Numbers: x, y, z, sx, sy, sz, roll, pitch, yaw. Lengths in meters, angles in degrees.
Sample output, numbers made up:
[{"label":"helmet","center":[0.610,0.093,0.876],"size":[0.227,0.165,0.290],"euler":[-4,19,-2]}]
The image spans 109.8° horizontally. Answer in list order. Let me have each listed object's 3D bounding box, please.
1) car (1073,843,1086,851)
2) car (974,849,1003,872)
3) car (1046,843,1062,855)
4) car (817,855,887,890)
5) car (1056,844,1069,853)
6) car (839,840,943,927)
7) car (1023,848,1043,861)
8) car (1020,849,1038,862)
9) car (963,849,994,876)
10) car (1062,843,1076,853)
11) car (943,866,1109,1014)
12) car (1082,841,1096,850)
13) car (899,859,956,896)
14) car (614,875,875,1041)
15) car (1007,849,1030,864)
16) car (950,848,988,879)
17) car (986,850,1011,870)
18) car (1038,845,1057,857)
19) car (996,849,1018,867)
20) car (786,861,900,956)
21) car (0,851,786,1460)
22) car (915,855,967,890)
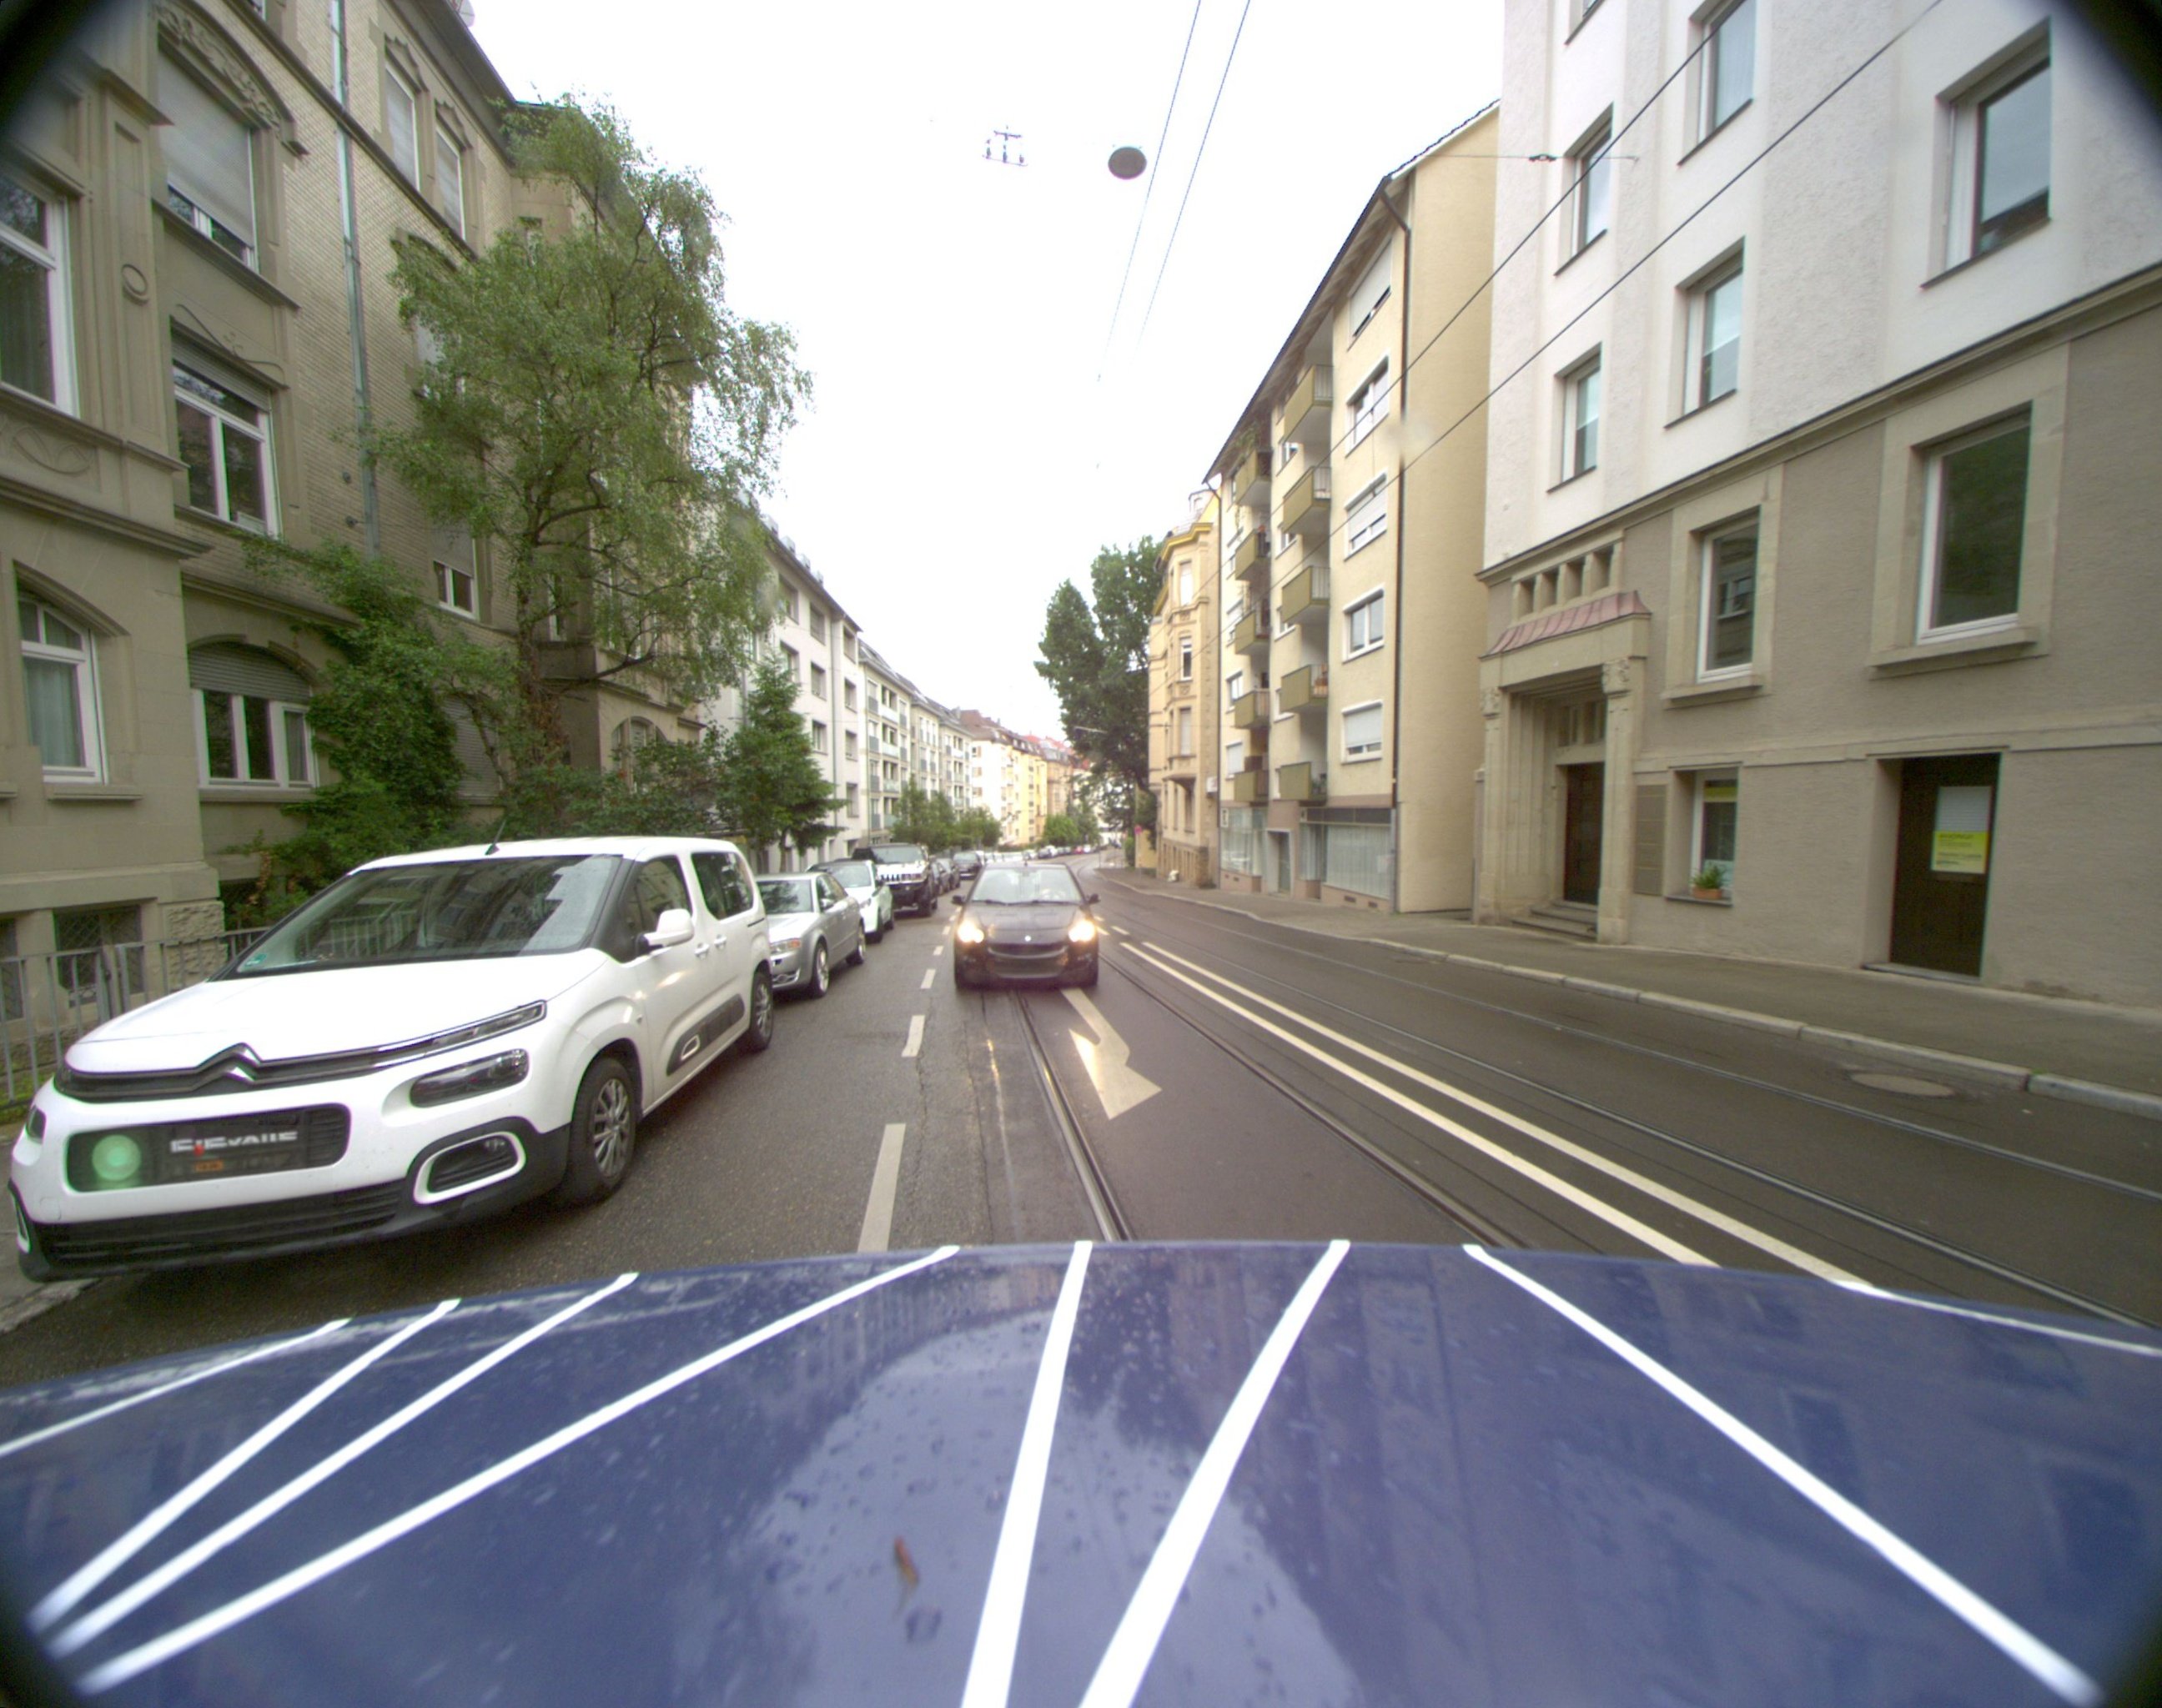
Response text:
[{"label":"car","center":[-0.241,-1.221,131.054],"size":[1.556,1.360,3.126],"euler":[-1,2,13]},{"label":"car","center":[-7.363,0.483,60.755],"size":[1.837,1.647,4.685],"euler":[-1,1,-1]},{"label":"car","center":[-3.865,-0.692,109.684],"size":[1.798,1.613,3.868],"euler":[-2,2,6]},{"label":"car","center":[-10.642,0.826,35.625],"size":[1.817,1.418,4.153],"euler":[-3,1,2]},{"label":"car","center":[-2.840,-0.868,118.792],"size":[1.590,1.434,3.477],"euler":[-2,2,6]},{"label":"car","center":[-5.081,0.685,21.074],"size":[2.135,2.002,5.346],"euler":[-3,1,-8]},{"label":"car","center":[-5.925,0.043,93.629],"size":[1.721,1.459,4.391],"euler":[-1,1,6]},{"label":"car","center":[-6.091,0.150,89.015],"size":[1.600,1.416,3.515],"euler":[-1,1,4]},{"label":"car","center":[-7.353,0.579,54.997],"size":[1.783,1.785,4.469],"euler":[-1,1,-3]},{"label":"car","center":[-1.899,-0.993,123.877],"size":[1.658,1.360,3.637],"euler":[-2,2,8]},{"label":"car","center":[-0.808,0.933,10.059],"size":[1.740,1.445,3.997],"euler":[-1,0,-7]},{"label":"car","center":[1.490,-1.530,139.629],"size":[1.612,1.434,3.690],"euler":[-1,2,13]},{"label":"car","center":[-6.212,0.904,31.103],"size":[1.683,1.330,3.881],"euler":[-2,1,-3]},{"label":"car","center":[-3.932,1.083,9.785],"size":[1.754,1.392,4.475],"euler":[-3,1,-7]},{"label":"car","center":[-6.662,0.242,81.598],"size":[1.862,1.507,4.789],"euler":[-1,1,2]},{"label":"car","center":[-7.156,0.587,49.090],"size":[1.948,1.785,4.818],"euler":[-2,1,-4]},{"label":"car","center":[-7.138,0.461,66.304],"size":[1.837,1.618,4.662],"euler":[-1,1,-2]},{"label":"car","center":[-4.537,-0.455,104.531],"size":[1.797,1.444,4.104],"euler":[-2,2,9]},{"label":"car","center":[-7.016,0.386,71.922],"size":[1.981,1.576,4.563],"euler":[-1,1,-5]},{"label":"car","center":[-4.577,0.964,15.069],"size":[1.565,1.537,3.581],"euler":[-3,1,-9]},{"label":"car","center":[-3.267,0.906,4.505],"size":[1.803,1.755,4.459],"euler":[-3,1,-9]},{"label":"car","center":[-6.532,0.829,35.829],"size":[1.799,1.429,4.609],"euler":[-2,1,-3]}]
